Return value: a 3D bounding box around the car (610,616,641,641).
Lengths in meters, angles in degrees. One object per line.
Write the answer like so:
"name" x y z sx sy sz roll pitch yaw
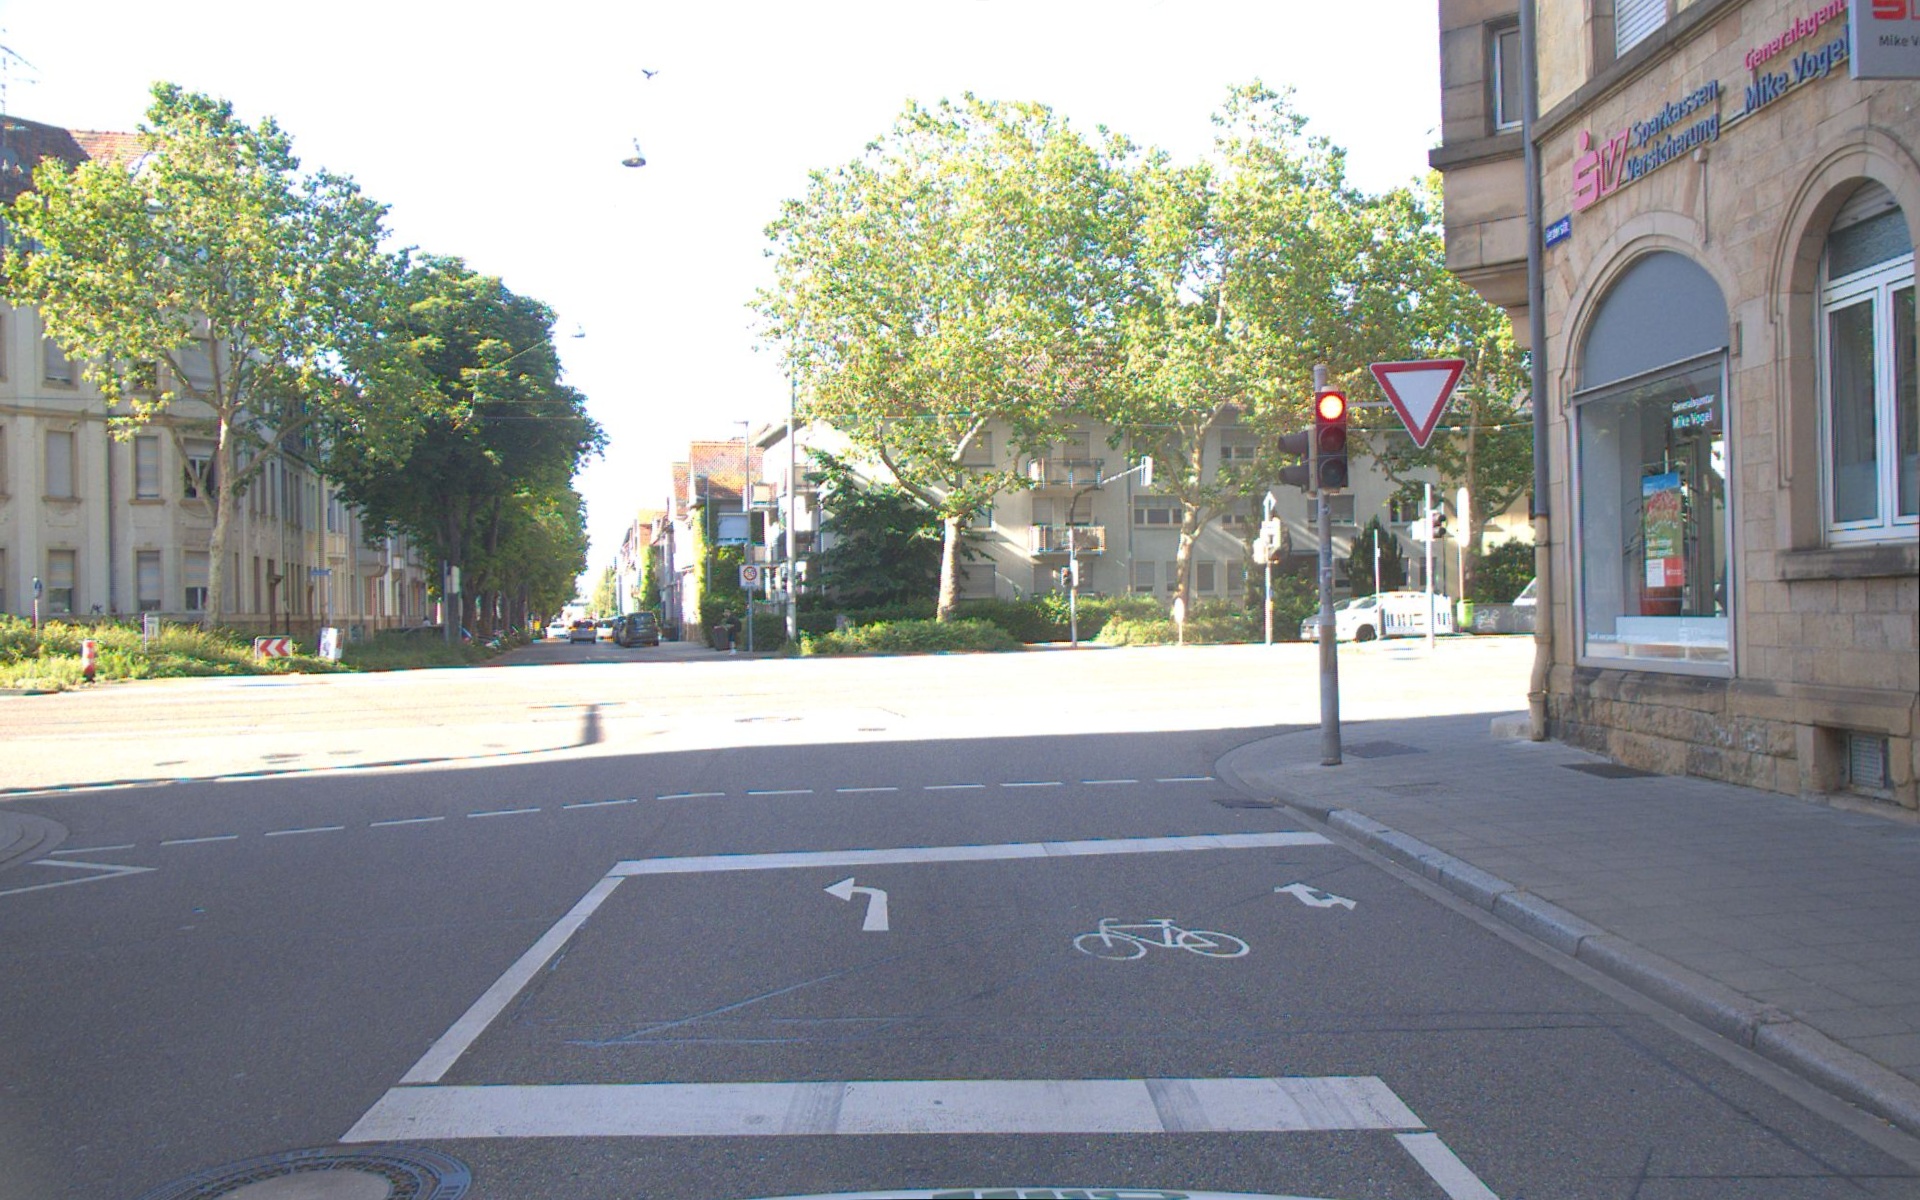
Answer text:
"car" -25.481 2.182 125.890 1.962 1.865 3.981 0 -1 -17

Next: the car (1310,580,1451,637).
"car" 12.169 0.237 47.872 3.737 1.498 1.618 -2 0 -24

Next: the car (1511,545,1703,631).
"car" 21.206 -0.411 54.194 5.949 2.613 1.989 -2 0 -19

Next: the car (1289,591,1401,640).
"car" 12.708 0.500 54.563 3.334 1.513 1.514 -2 0 -23

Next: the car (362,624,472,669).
"car" -20.814 1.758 63.464 3.928 1.512 1.672 -2 0 -20

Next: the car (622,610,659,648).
"car" -18.420 1.649 95.457 1.958 2.049 3.990 -2 0 -10

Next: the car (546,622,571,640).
"car" -34.569 2.648 142.264 1.961 1.471 3.984 -2 0 -15

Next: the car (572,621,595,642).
"car" -27.754 2.290 121.823 1.645 1.509 3.509 0 -1 -13

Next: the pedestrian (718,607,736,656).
"pedestrian" -8.615 1.166 61.191 0.621 1.780 0.658 0 -1 -5
